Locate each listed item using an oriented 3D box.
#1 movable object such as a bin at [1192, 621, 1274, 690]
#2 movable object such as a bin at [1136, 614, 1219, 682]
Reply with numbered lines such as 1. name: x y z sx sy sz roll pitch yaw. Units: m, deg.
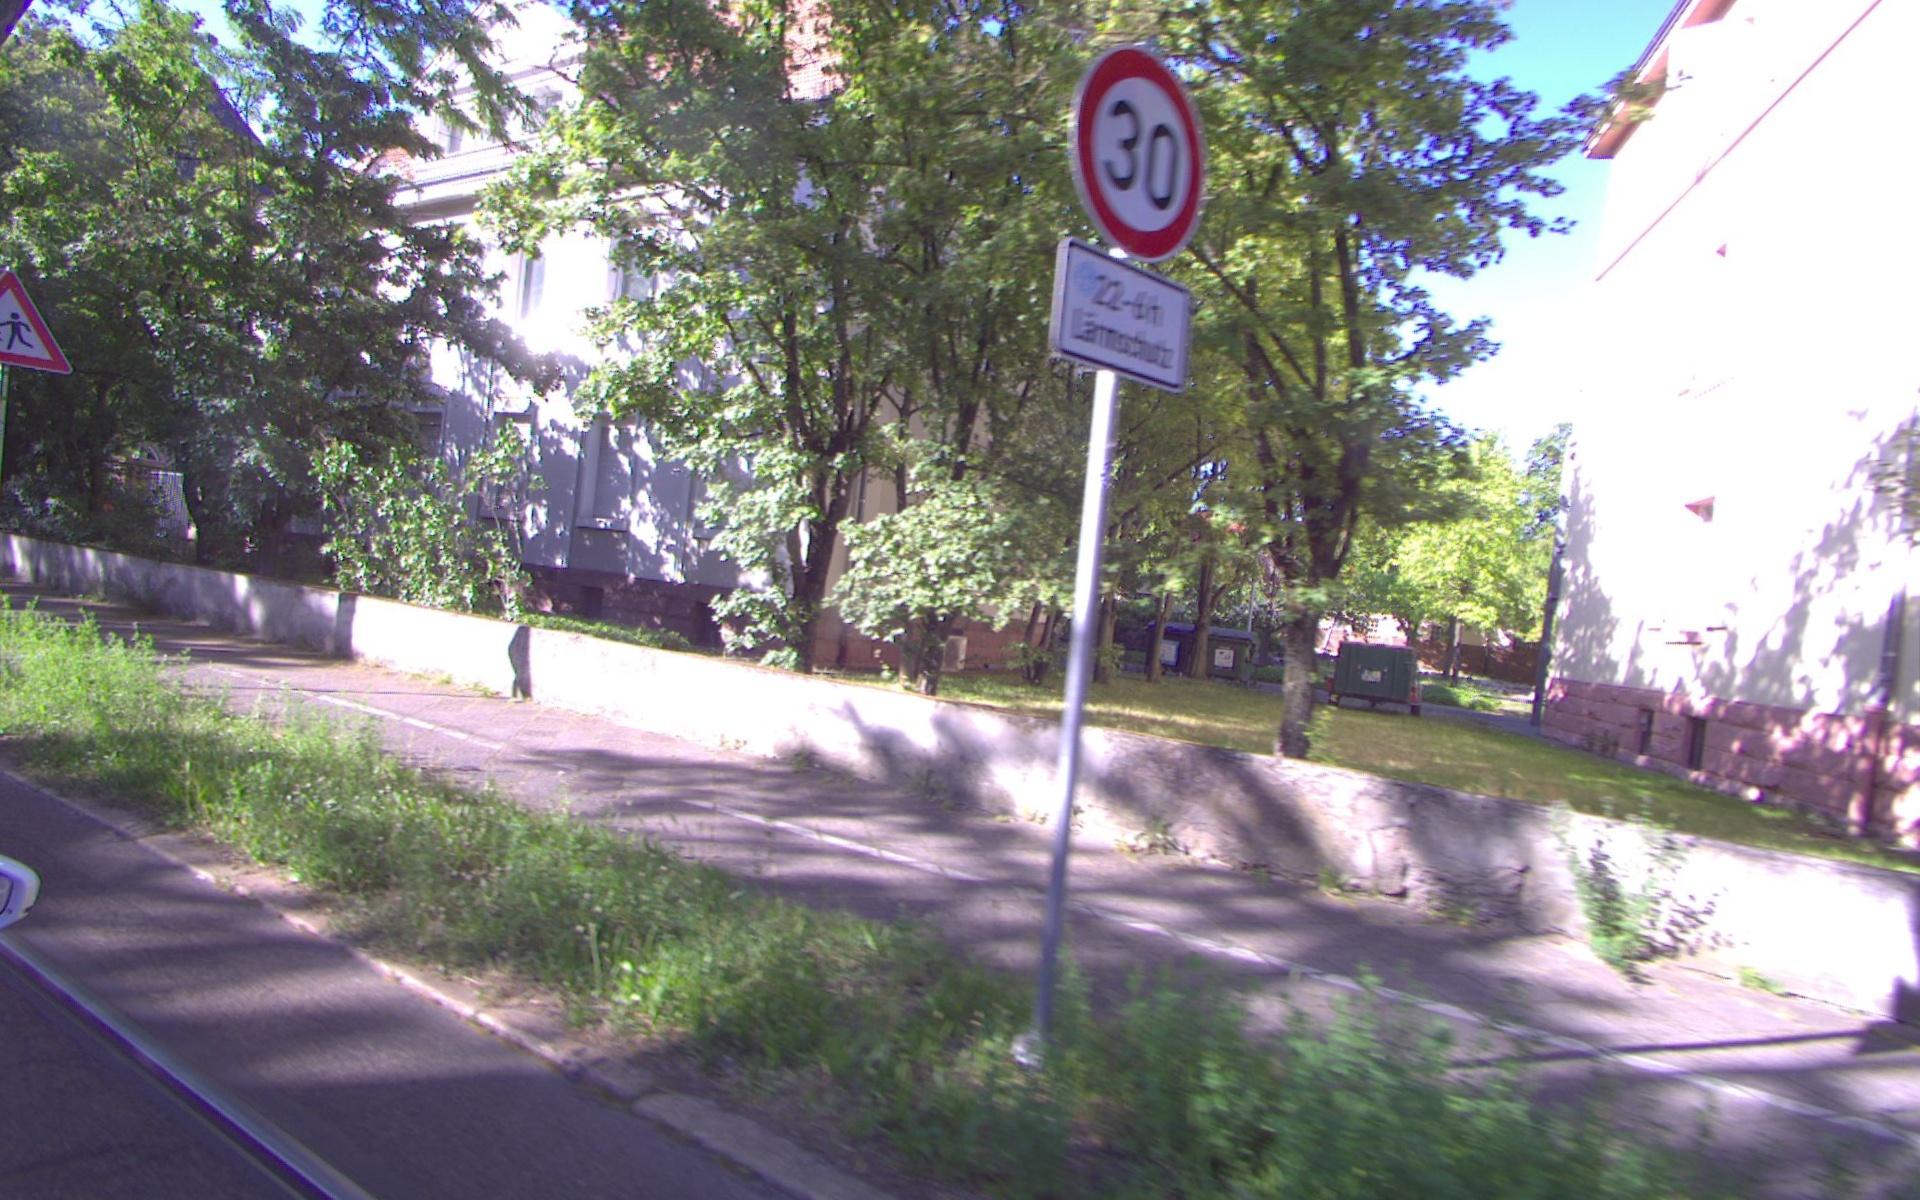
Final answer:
1. movable object such as a bin: 7.006 1.431 25.713 1.461 1.459 2.232 7 -3 27
2. movable object such as a bin: 5.728 1.284 26.405 1.461 1.459 2.232 7 -3 27
